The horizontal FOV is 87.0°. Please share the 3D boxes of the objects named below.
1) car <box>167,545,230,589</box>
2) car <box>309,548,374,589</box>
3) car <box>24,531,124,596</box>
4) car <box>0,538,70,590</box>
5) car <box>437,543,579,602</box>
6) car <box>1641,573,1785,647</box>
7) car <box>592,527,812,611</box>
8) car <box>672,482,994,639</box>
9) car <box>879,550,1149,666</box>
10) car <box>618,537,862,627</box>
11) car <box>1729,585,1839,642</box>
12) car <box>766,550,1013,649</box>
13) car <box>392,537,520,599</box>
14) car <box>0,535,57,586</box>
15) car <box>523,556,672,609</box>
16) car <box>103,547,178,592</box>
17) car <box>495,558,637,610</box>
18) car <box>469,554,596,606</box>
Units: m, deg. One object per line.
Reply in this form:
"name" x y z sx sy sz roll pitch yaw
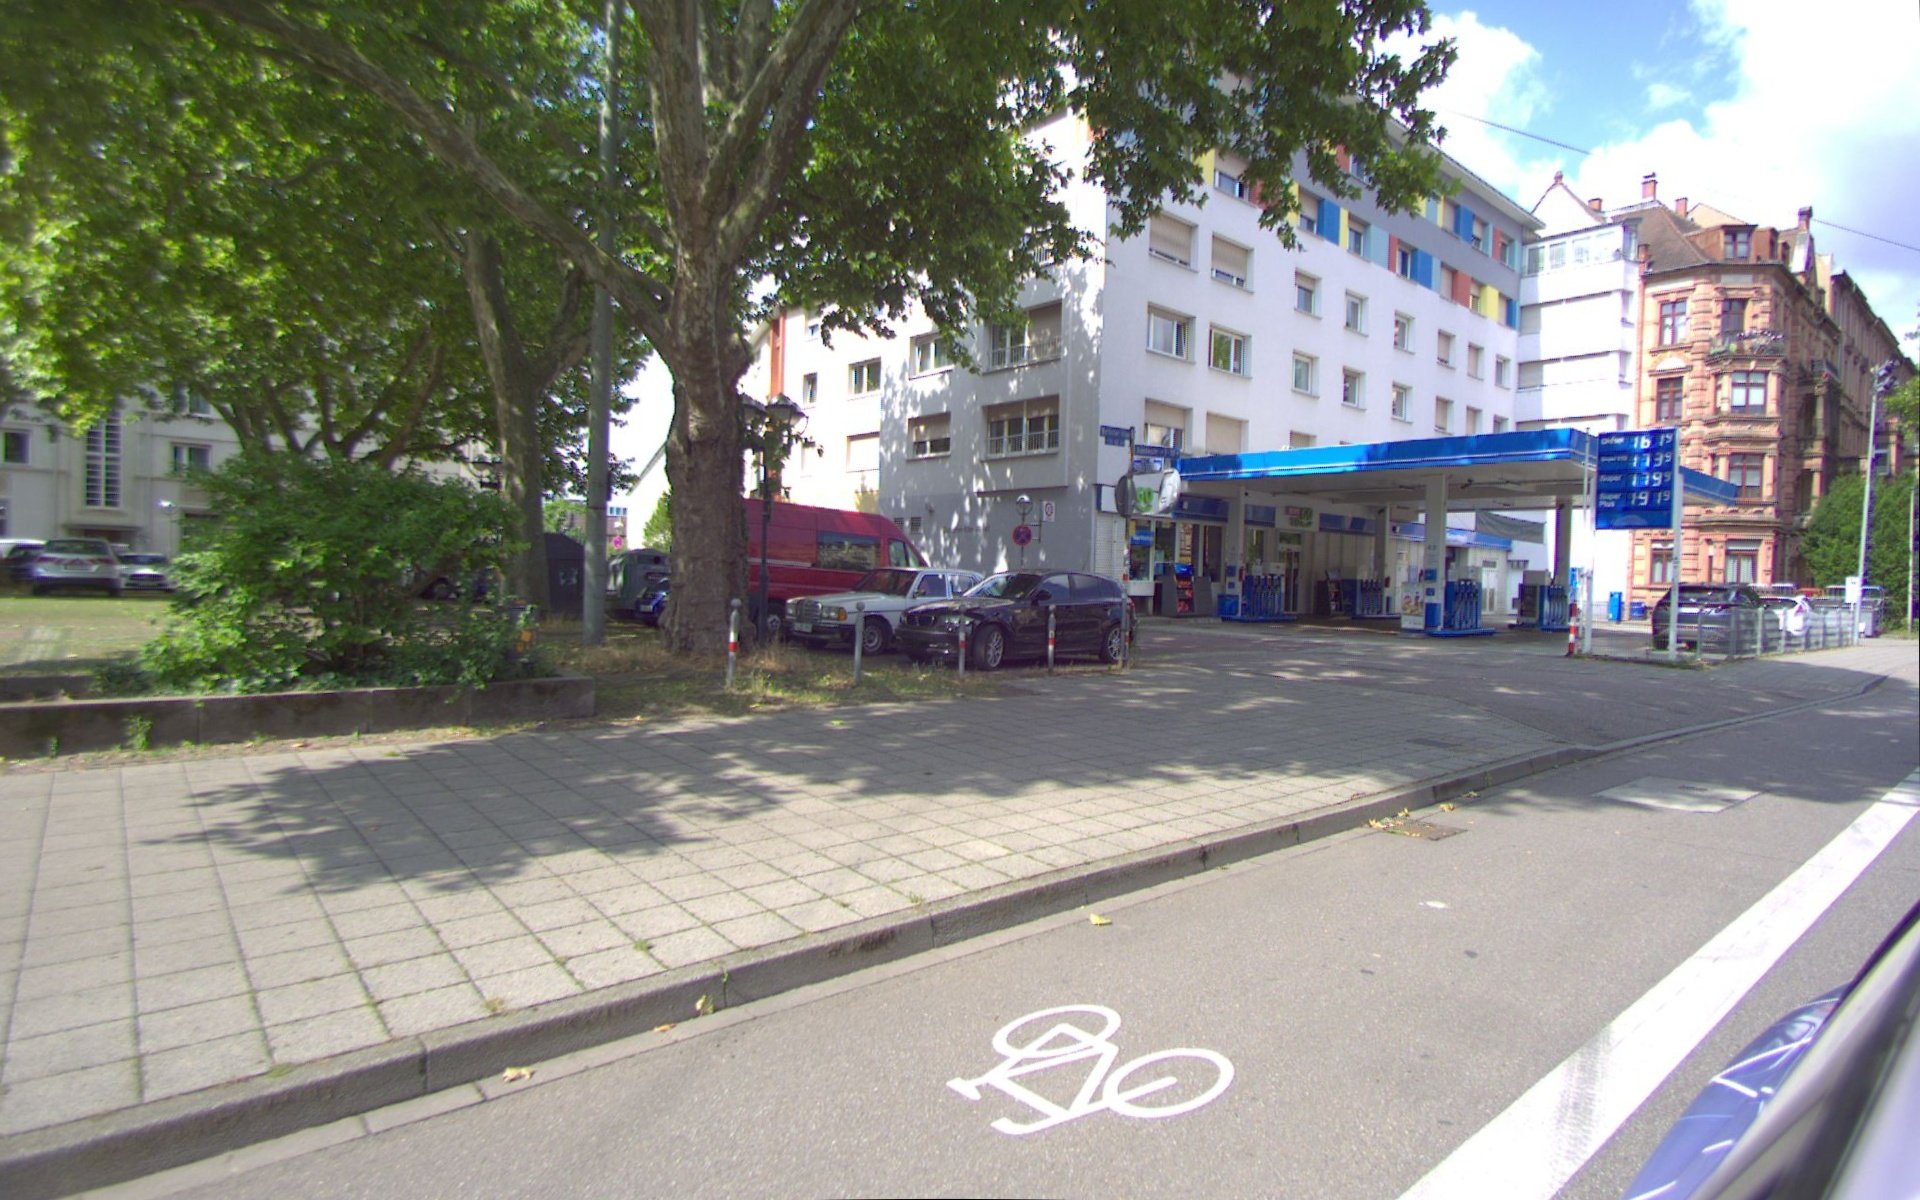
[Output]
"car" -34.257 -1.517 45.482 2.151 1.827 4.757 0 2 -38
"car" -29.745 -1.524 48.615 2.151 1.827 4.757 0 2 -38
"car" -24.610 -1.019 28.238 1.964 1.656 4.161 0 2 -40
"car" -30.929 -1.220 33.588 1.964 1.614 4.264 0 2 -40
"car" -15.108 -0.893 33.942 3.979 1.843 1.824 1 0 -43
"car" 18.354 0.207 24.607 4.501 1.622 1.810 0 1 -40
"car" -5.947 -0.663 23.612 4.568 1.776 2.011 1 0 -39
"car" -2.294 -0.680 19.559 5.911 2.614 2.117 1 2 -39
"car" 0.891 0.085 15.016 3.973 1.488 1.651 0 2 -42
"car" -4.515 -0.341 21.161 4.568 1.672 2.011 1 0 -39
"car" 23.714 0.364 29.081 3.932 1.473 1.809 0 1 -41
"car" -1.082 -0.026 16.845 3.976 1.447 1.650 0 2 -45
"car" -17.401 -1.081 35.010 3.581 2.012 1.825 0 2 -43
"car" -38.628 -1.641 41.643 2.001 1.953 4.692 0 2 -40
"car" -10.099 -0.465 28.323 3.581 1.380 1.582 0 0 -43
"car" -28.437 -1.090 35.111 1.924 1.439 4.174 0 2 -40
"car" -11.600 -0.454 29.917 3.581 1.433 1.647 0 0 -43
"car" -13.351 -0.606 31.685 3.321 1.527 1.600 1 0 -43
